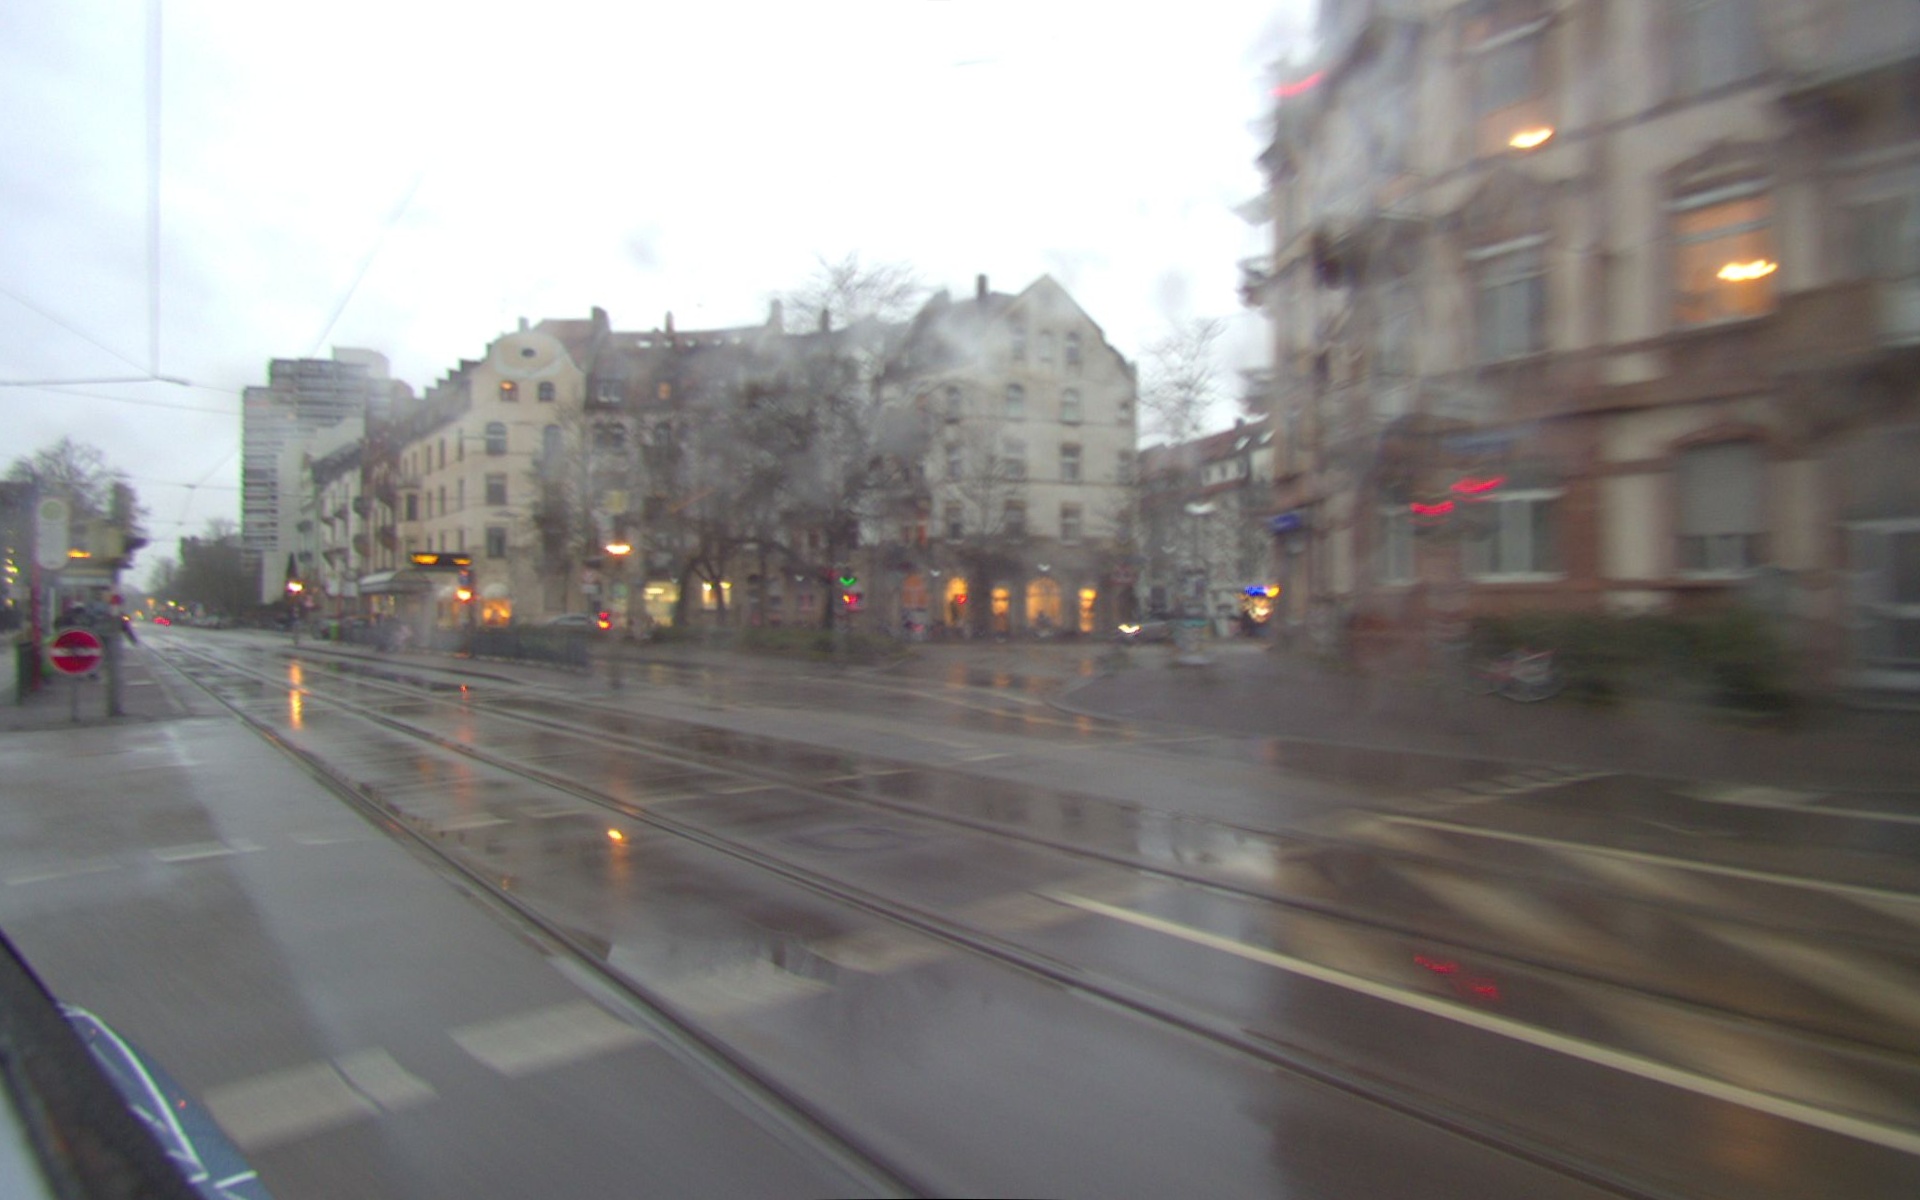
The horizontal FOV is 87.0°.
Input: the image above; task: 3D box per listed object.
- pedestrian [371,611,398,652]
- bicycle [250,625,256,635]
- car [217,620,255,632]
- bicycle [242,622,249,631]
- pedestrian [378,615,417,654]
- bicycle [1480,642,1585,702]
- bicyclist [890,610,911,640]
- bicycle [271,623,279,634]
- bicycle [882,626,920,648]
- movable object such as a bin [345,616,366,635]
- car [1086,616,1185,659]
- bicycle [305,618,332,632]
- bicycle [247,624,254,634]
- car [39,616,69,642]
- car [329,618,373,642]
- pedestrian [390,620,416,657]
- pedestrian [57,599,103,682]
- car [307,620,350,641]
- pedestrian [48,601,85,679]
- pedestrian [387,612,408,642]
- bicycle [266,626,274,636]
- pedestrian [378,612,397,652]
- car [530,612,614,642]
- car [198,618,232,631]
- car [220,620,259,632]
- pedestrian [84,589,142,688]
[{"bbox_3d":[-20.874,1.142,36.723,0.675,1.414,0.579,-4,2,-41],"label":"pedestrian"},{"bbox_3d":[-76.234,3.231,109.106,0.428,1.014,1.608,-4,2,-39],"label":"bicycle"},{"bbox_3d":[-90.136,3.206,125.967,3.782,1.424,1.730,0,-1,-40],"label":"car"},{"bbox_3d":[-81.157,2.972,114.920,0.428,1.014,1.884,-4,2,-39],"label":"bicycle"},{"bbox_3d":[-19.815,1.203,35.659,1.043,1.263,0.507,-4,2,-41],"label":"pedestrian"},{"bbox_3d":[8.499,1.045,15.107,0.395,0.764,1.813,-1,0,-5],"label":"bicycle"},{"bbox_3d":[-2.806,1.166,47.691,0.762,1.374,0.525,-1,1,30],"label":"bicyclist"},{"bbox_3d":[-64.989,2.688,95.949,0.522,0.947,2.091,-4,2,-36],"label":"bicycle"},{"bbox_3d":[-2.768,1.752,47.635,1.803,1.014,0.487,-1,0,29],"label":"bicycle"},{"bbox_3d":[-48.627,2.044,81.355,1.221,1.442,1.075,-4,2,-42],"label":"movable object such as a bin"},{"bbox_3d":[7.597,1.603,43.997,3.802,1.785,1.883,0,-1,-7],"label":"car"},{"bbox_3d":[-59.015,2.295,93.145,1.960,1.167,0.532,-4,2,-41],"label":"bicycle"},{"bbox_3d":[-77.647,3.183,110.761,0.428,1.014,1.884,0,-1,-39],"label":"bicycle"},{"bbox_3d":[-73.516,2.311,82.130,1.701,1.959,4.514,-4,2,-42],"label":"car"},{"bbox_3d":[-42.757,2.099,71.029,3.680,1.527,1.654,-2,2,44],"label":"car"},{"bbox_3d":[-19.387,1.340,35.249,0.644,1.227,0.518,-4,2,-41],"label":"pedestrian"},{"bbox_3d":[-19.120,0.867,21.994,0.649,1.721,0.572,-4,1,-40],"label":"pedestrian"},{"bbox_3d":[-46.652,2.218,74.722,1.781,1.400,4.512,-4,2,-44],"label":"car"},{"bbox_3d":[-21.373,0.943,24.213,0.550,1.821,0.572,-4,1,-40],"label":"pedestrian"},{"bbox_3d":[-36.721,1.746,66.086,0.786,1.892,0.895,-3,1,-4],"label":"pedestrian"},{"bbox_3d":[-67.996,3.077,99.700,0.522,0.896,2.214,-4,2,-36],"label":"bicycle"},{"bbox_3d":[-20.552,1.138,36.330,0.467,1.414,0.454,-4,1,-41],"label":"pedestrian"},{"bbox_3d":[-21.622,1.490,56.550,4.270,1.595,1.943,0,-1,-16],"label":"car"},{"bbox_3d":[-107.360,3.513,145.898,3.783,1.730,1.730,-4,2,-40],"label":"car"},{"bbox_3d":[-88.268,3.174,124.040,3.782,1.424,1.730,-1,-1,-40],"label":"car"},{"bbox_3d":[-17.189,0.767,20.556,0.677,1.931,0.720,-3,1,-29],"label":"pedestrian"}]
